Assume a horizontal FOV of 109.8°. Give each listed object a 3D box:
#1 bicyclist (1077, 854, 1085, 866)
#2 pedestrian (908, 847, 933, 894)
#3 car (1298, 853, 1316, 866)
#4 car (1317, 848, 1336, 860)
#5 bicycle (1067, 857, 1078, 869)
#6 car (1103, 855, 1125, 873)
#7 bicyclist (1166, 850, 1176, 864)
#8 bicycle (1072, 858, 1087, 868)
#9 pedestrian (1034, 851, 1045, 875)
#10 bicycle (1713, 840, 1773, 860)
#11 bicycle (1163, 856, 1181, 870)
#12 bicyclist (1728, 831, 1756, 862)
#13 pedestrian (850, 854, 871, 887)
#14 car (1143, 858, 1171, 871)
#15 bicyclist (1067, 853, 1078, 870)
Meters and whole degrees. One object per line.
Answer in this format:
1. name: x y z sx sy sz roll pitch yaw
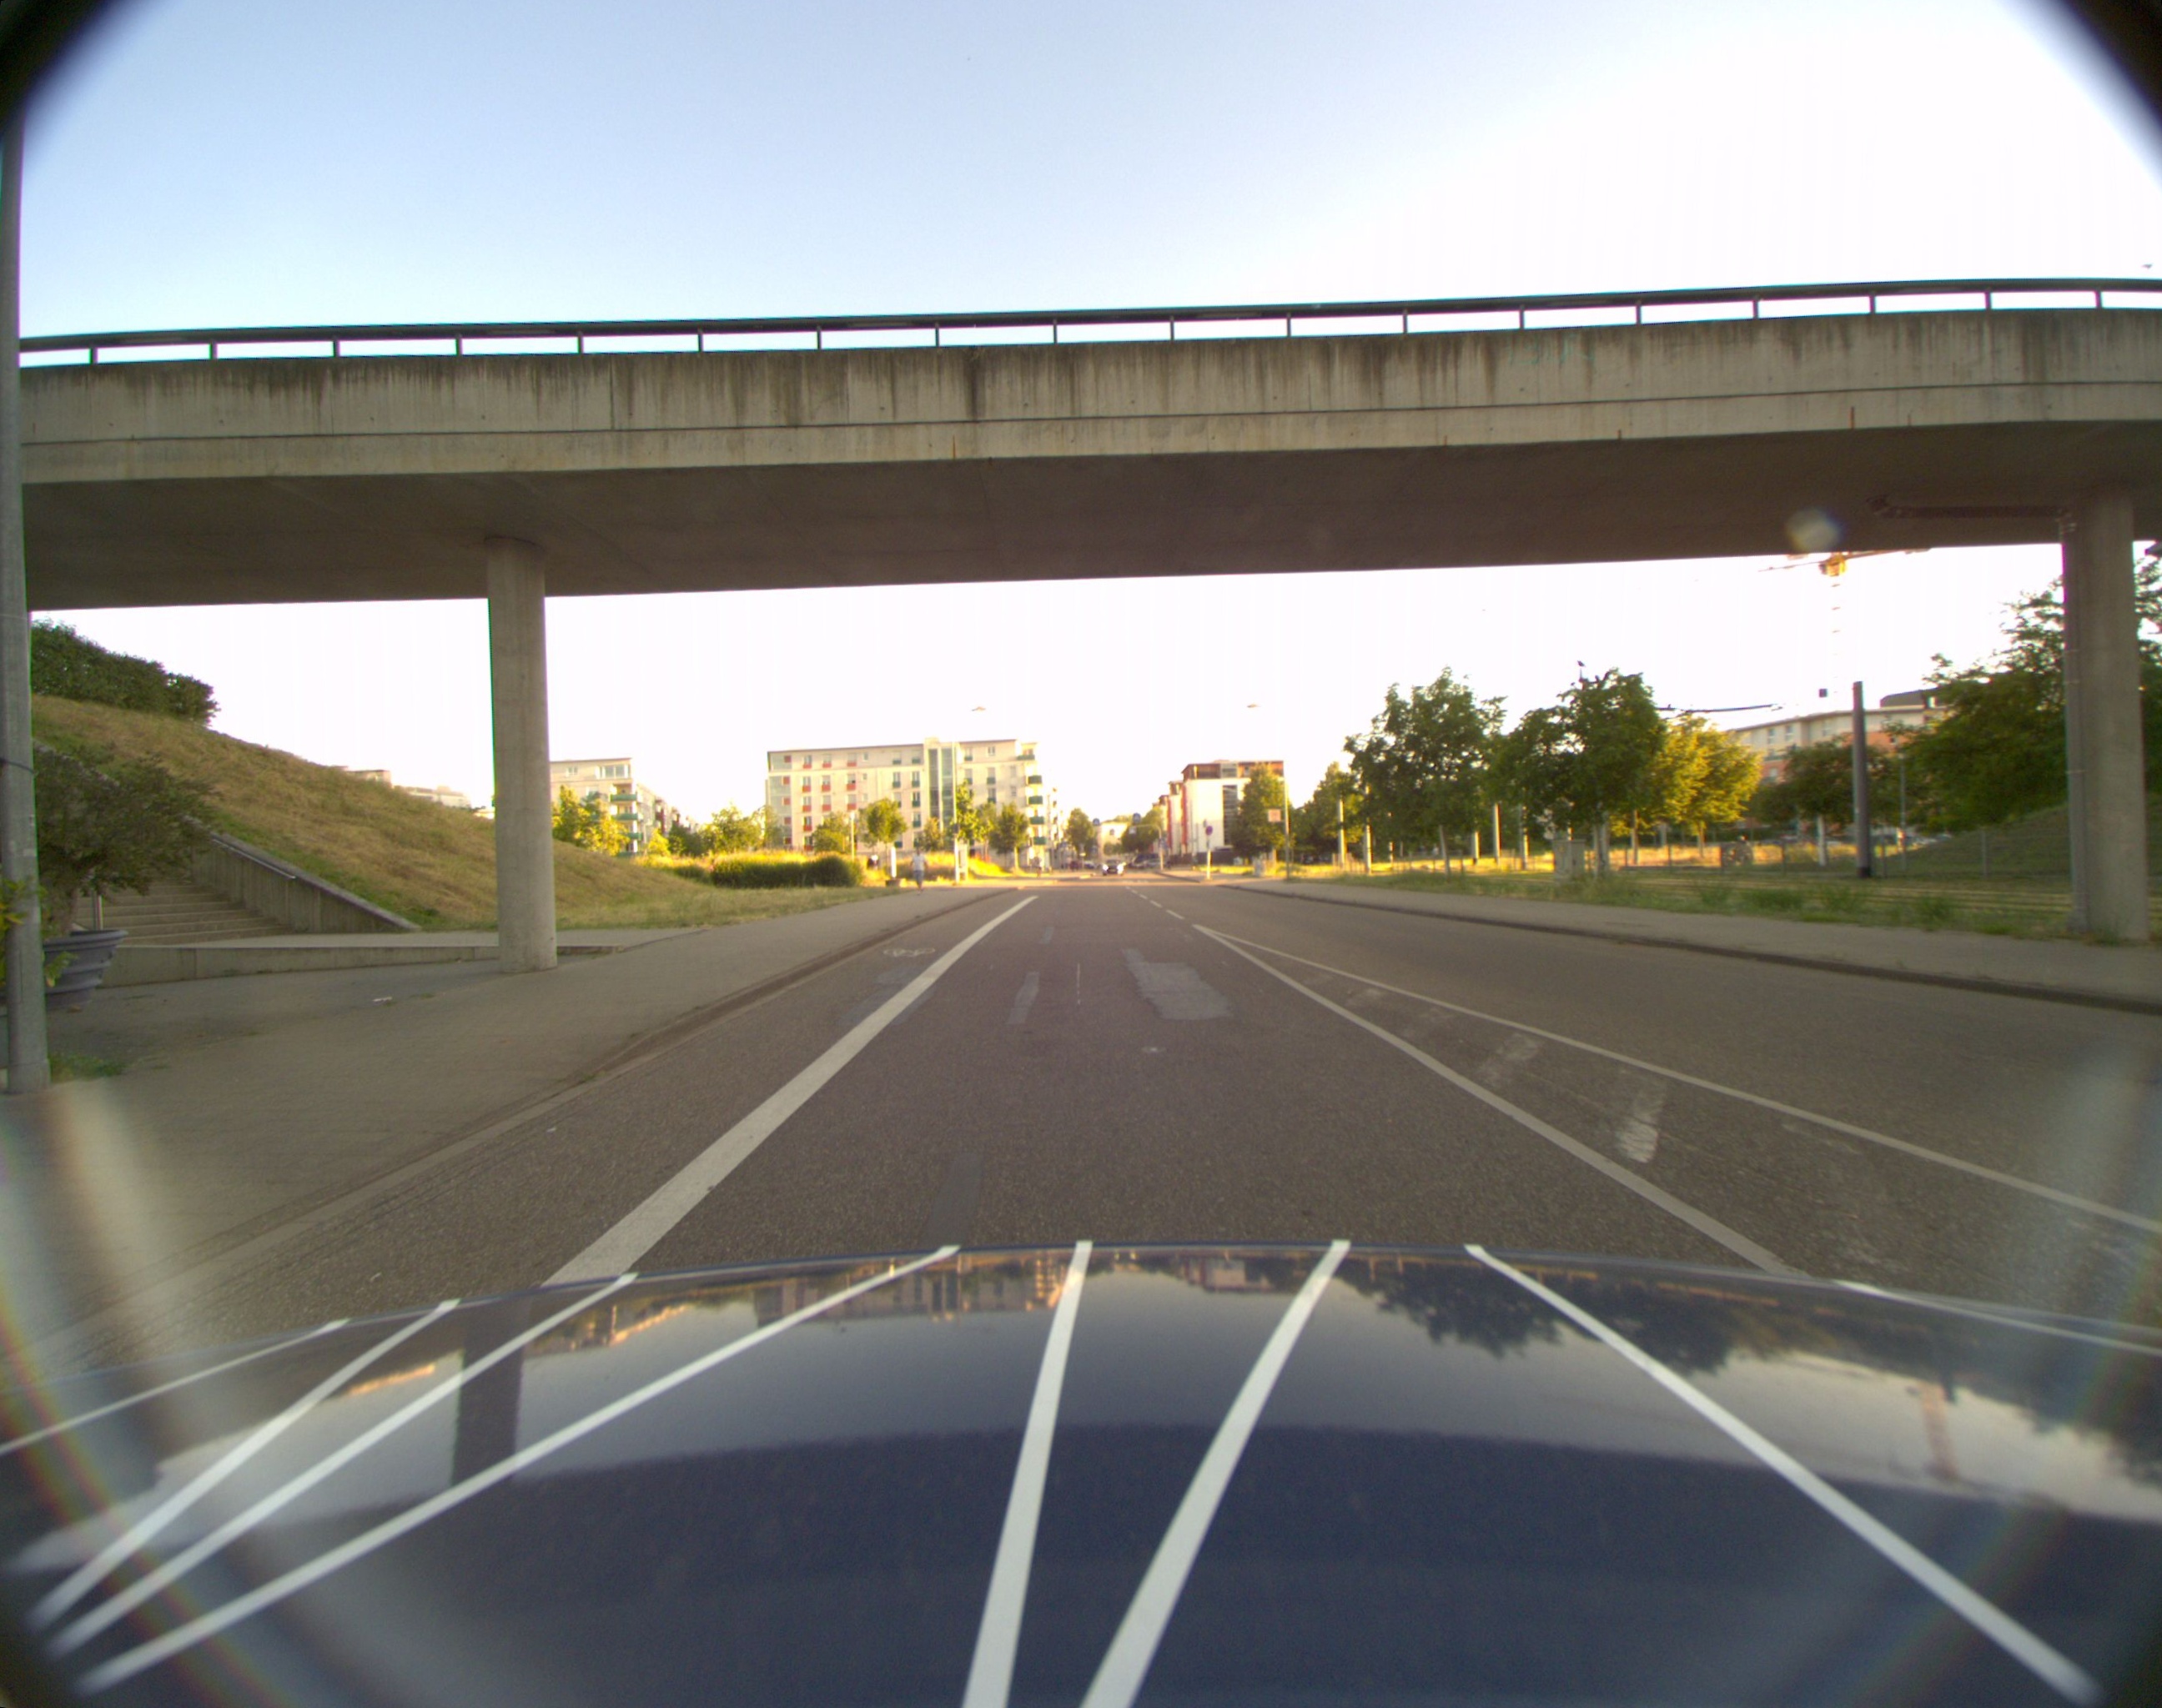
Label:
1. bicyclist: -0.036 0.788 100.420 0.696 1.630 0.853 -2 0 31
2. pedestrian: -5.918 0.606 28.082 0.737 1.714 0.906 0 0 1
3. car: 28.864 0.681 97.016 1.942 1.521 4.004 -2 0 14
4. car: 31.161 -0.018 96.611 1.942 1.521 4.004 -2 0 14
5. bicycle: -0.843 0.871 74.621 0.900 1.142 3.497 -2 0 -4
6. car: 2.729 0.810 63.672 1.739 1.455 4.000 -2 0 1
7. bicyclist: 10.565 0.393 89.630 0.859 1.653 0.919 -2 0 -13
8. bicycle: -0.163 1.232 100.248 0.661 1.217 2.444 -2 0 33
9. pedestrian: -2.982 0.642 55.136 0.737 1.714 0.532 0 0 1
10. bicycle: 36.312 -0.197 41.680 2.842 1.002 0.655 -2 0 -3
11. bicycle: 10.648 1.036 89.258 1.018 1.560 3.539 -2 0 -11
12. bicyclist: 36.336 -0.414 41.785 0.909 1.622 0.717 -2 0 -3
13. pedestrian: -10.867 0.815 37.432 0.737 1.620 0.859 0 0 2
14. car: 11.337 1.575 113.976 3.996 1.718 2.000 -2 0 2
15. bicyclist: -0.832 0.716 74.043 0.932 1.585 1.068 -2 0 0
